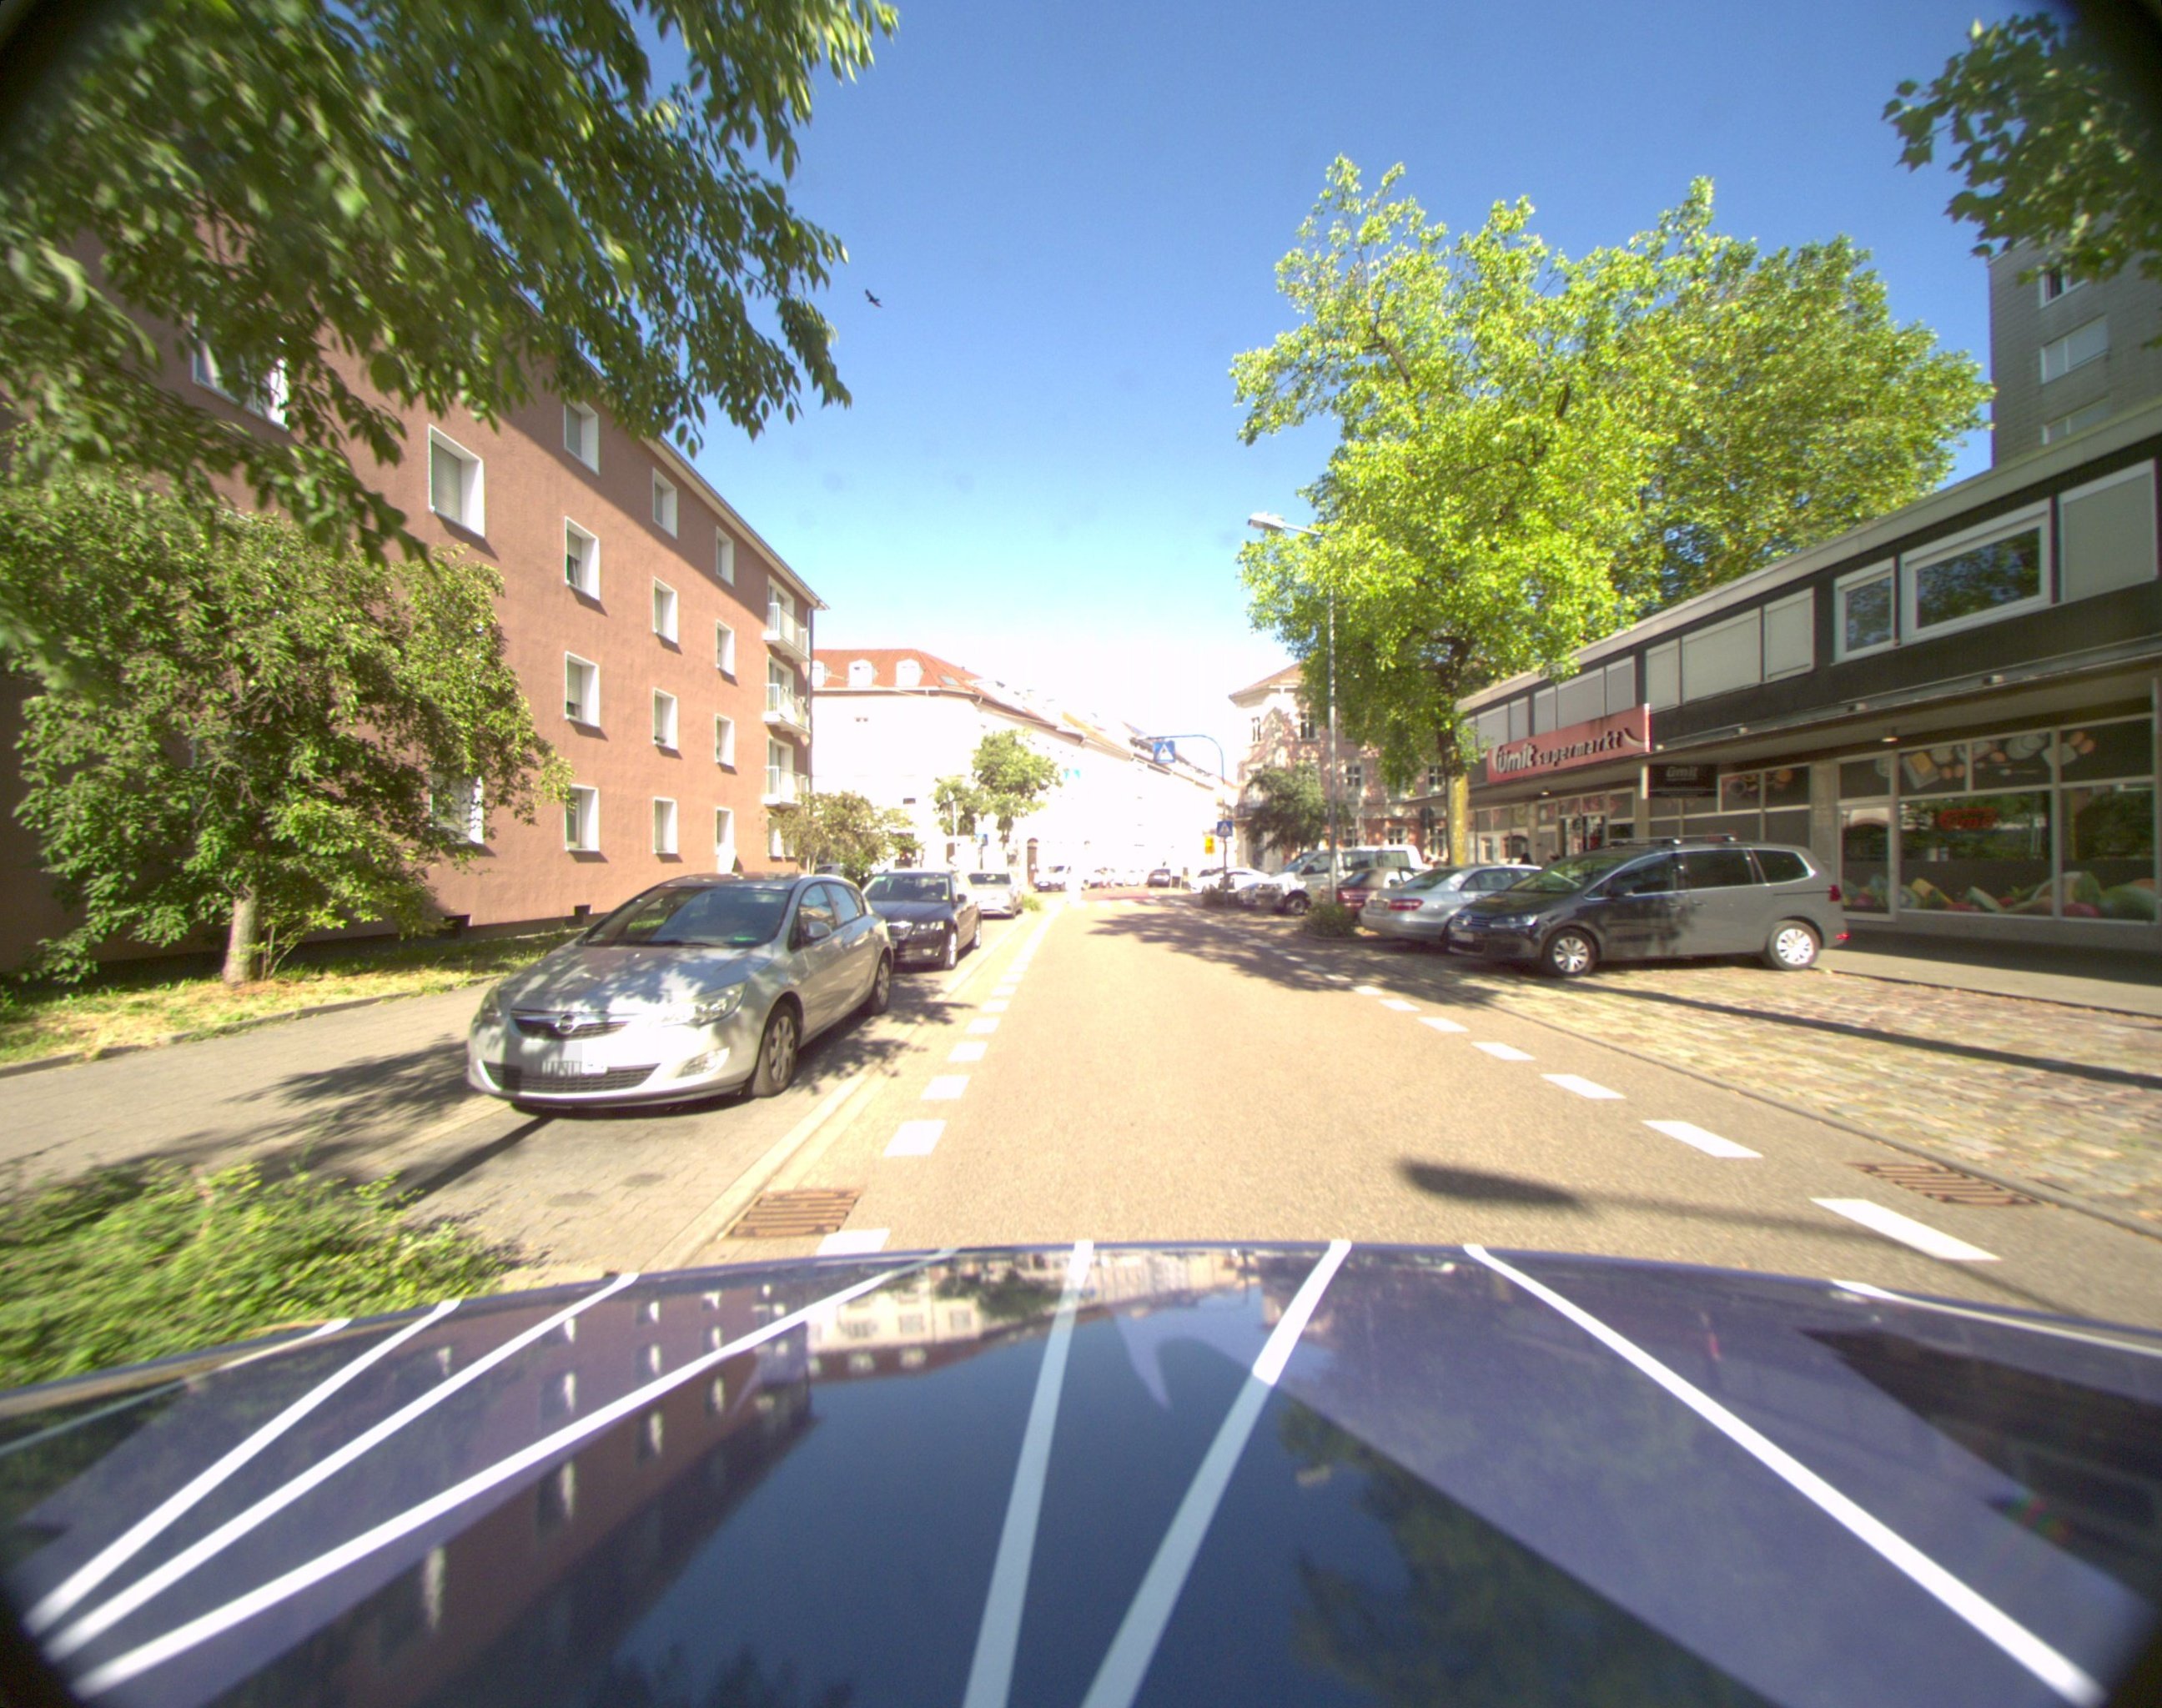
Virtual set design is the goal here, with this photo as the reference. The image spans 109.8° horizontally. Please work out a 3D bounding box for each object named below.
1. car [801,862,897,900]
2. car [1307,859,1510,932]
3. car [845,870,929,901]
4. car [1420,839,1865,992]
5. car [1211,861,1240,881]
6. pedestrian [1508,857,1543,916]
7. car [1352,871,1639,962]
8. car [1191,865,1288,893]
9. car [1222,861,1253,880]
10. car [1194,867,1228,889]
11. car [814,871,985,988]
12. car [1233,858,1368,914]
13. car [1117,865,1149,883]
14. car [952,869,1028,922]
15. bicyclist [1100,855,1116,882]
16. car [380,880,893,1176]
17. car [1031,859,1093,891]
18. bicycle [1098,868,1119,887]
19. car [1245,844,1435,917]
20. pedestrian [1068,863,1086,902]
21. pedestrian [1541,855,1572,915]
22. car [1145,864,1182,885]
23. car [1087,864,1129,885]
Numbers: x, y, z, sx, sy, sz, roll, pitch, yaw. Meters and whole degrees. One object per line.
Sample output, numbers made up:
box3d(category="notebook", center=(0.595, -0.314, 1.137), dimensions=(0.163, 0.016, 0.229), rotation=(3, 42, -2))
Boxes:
box3d(category="car", center=(-12.767, 1.470, 42.087), dimensions=(4.756, 2.002, 1.999), rotation=(-1, 0, -4))
box3d(category="car", center=(7.641, 0.942, 17.983), dimensions=(3.997, 1.412, 1.737), rotation=(-4, 0, -2))
box3d(category="car", center=(-9.390, 1.505, 36.888), dimensions=(3.648, 1.394, 1.568), rotation=(-1, 0, 0))
box3d(category="car", center=(7.531, 0.777, 10.531), dimensions=(4.781, 1.766, 1.874), rotation=(-2, 0, -2))
box3d(category="car", center=(12.154, 1.410, 63.817), dimensions=(1.505, 1.652, 4.007), rotation=(0, 0, 24))
box3d(category="pedestrian", center=(11.879, 0.849, 20.319), dimensions=(0.529, 1.546, 0.663), rotation=(-2, 0, 1))
box3d(category="car", center=(6.974, 1.015, 13.069), dimensions=(3.998, 1.390, 1.759), rotation=(-1, 0, -2))
box3d(category="car", center=(8.476, 1.335, 40.993), dimensions=(4.802, 1.417, 2.000), rotation=(-1, 0, 0))
box3d(category="car", center=(14.036, 1.436, 67.951), dimensions=(1.854, 1.652, 4.007), rotation=(0, 0, 24))
box3d(category="car", center=(10.176, 1.829, 59.336), dimensions=(1.670, 1.627, 4.055), rotation=(-1, -1, 24))
box3d(category="car", center=(-2.683, 1.051, 12.220), dimensions=(1.662, 1.473, 4.312), rotation=(-1, -1, 1))
box3d(category="car", center=(7.281, 1.039, 25.483), dimensions=(3.997, 1.781, 1.757), rotation=(-1, 0, -1))
box3d(category="car", center=(4.307, 1.621, 62.515), dimensions=(1.632, 1.412, 3.300), rotation=(0, 0, 23))
box3d(category="car", center=(-2.640, 1.184, 22.852), dimensions=(1.736, 1.420, 4.001), rotation=(-1, -1, 1))
box3d(category="bicyclist", center=(1.683, 0.927, 47.347), dimensions=(0.847, 1.663, 0.818), rotation=(0, 0, -9))
box3d(category="car", center=(-2.881, 1.004, 6.079), dimensions=(1.720, 1.445, 4.000), rotation=(0, 0, 1))
box3d(category="car", center=(-1.125, 1.288, 48.486), dimensions=(1.908, 1.924, 4.818), rotation=(-1, -1, 26))
box3d(category="bicycle", center=(1.708, 1.448, 47.221), dimensions=(0.875, 1.179, 2.289), rotation=(0, 0, -10))
box3d(category="car", center=(7.687, 0.777, 22.864), dimensions=(4.996, 1.958, 1.909), rotation=(-2, 0, -2))
box3d(category="pedestrian", center=(-0.181, 1.197, 32.188), dimensions=(0.727, 1.630, 0.808), rotation=(0, 0, 0))
box3d(category="pedestrian", center=(12.577, 0.819, 20.102), dimensions=(0.474, 1.546, 0.499), rotation=(-2, 0, 0))
box3d(category="car", center=(6.184, 1.494, 56.891), dimensions=(1.996, 1.455, 4.006), rotation=(0, 0, 17))
box3d(category="car", center=(2.093, 1.545, 57.426), dimensions=(2.130, 1.487, 3.951), rotation=(-1, -1, 19))
